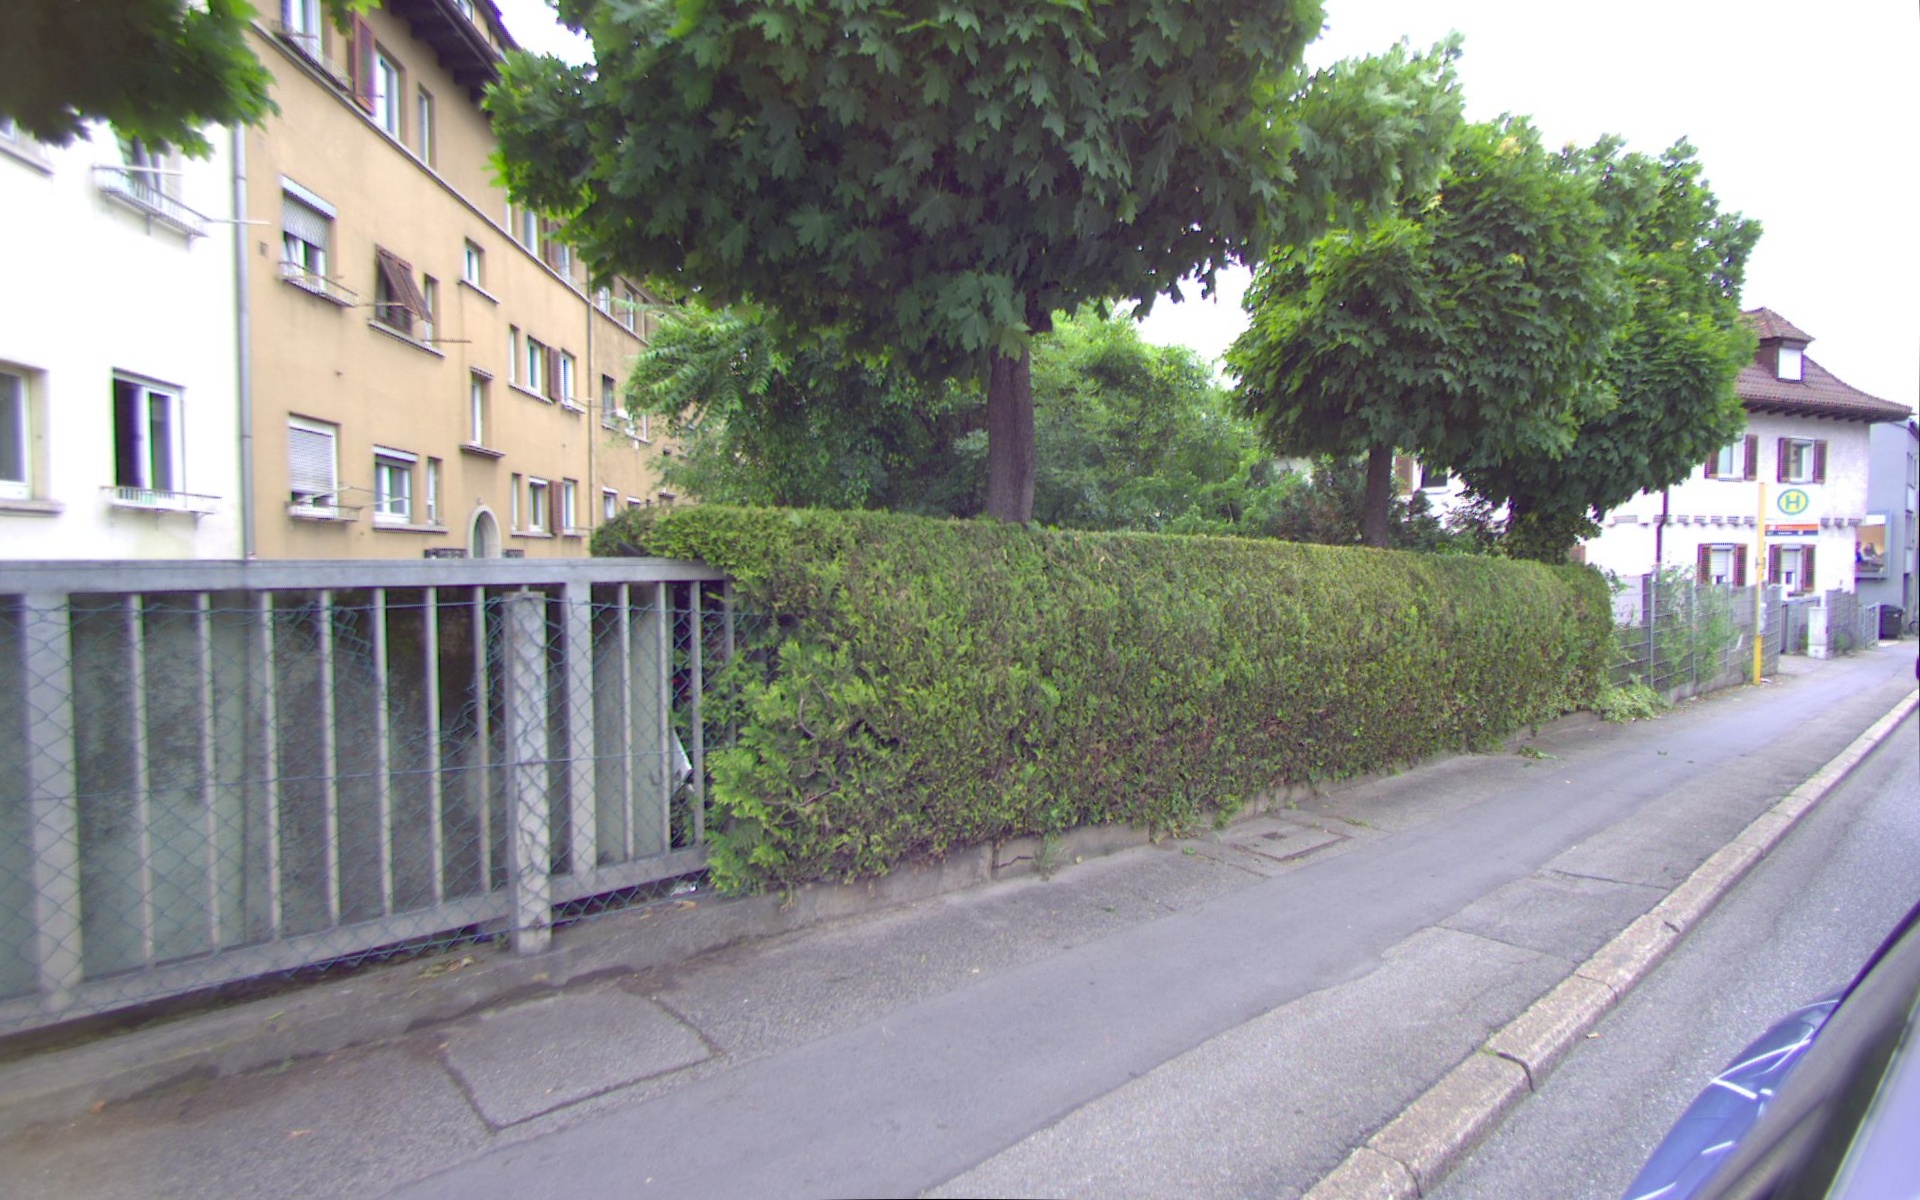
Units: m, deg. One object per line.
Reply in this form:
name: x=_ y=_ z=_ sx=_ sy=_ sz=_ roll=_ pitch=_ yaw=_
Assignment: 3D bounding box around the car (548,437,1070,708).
car: x=-0.960 y=-0.172 z=7.318 sx=3.381 sy=1.478 sz=1.698 roll=-1 pitch=0 yaw=-43
